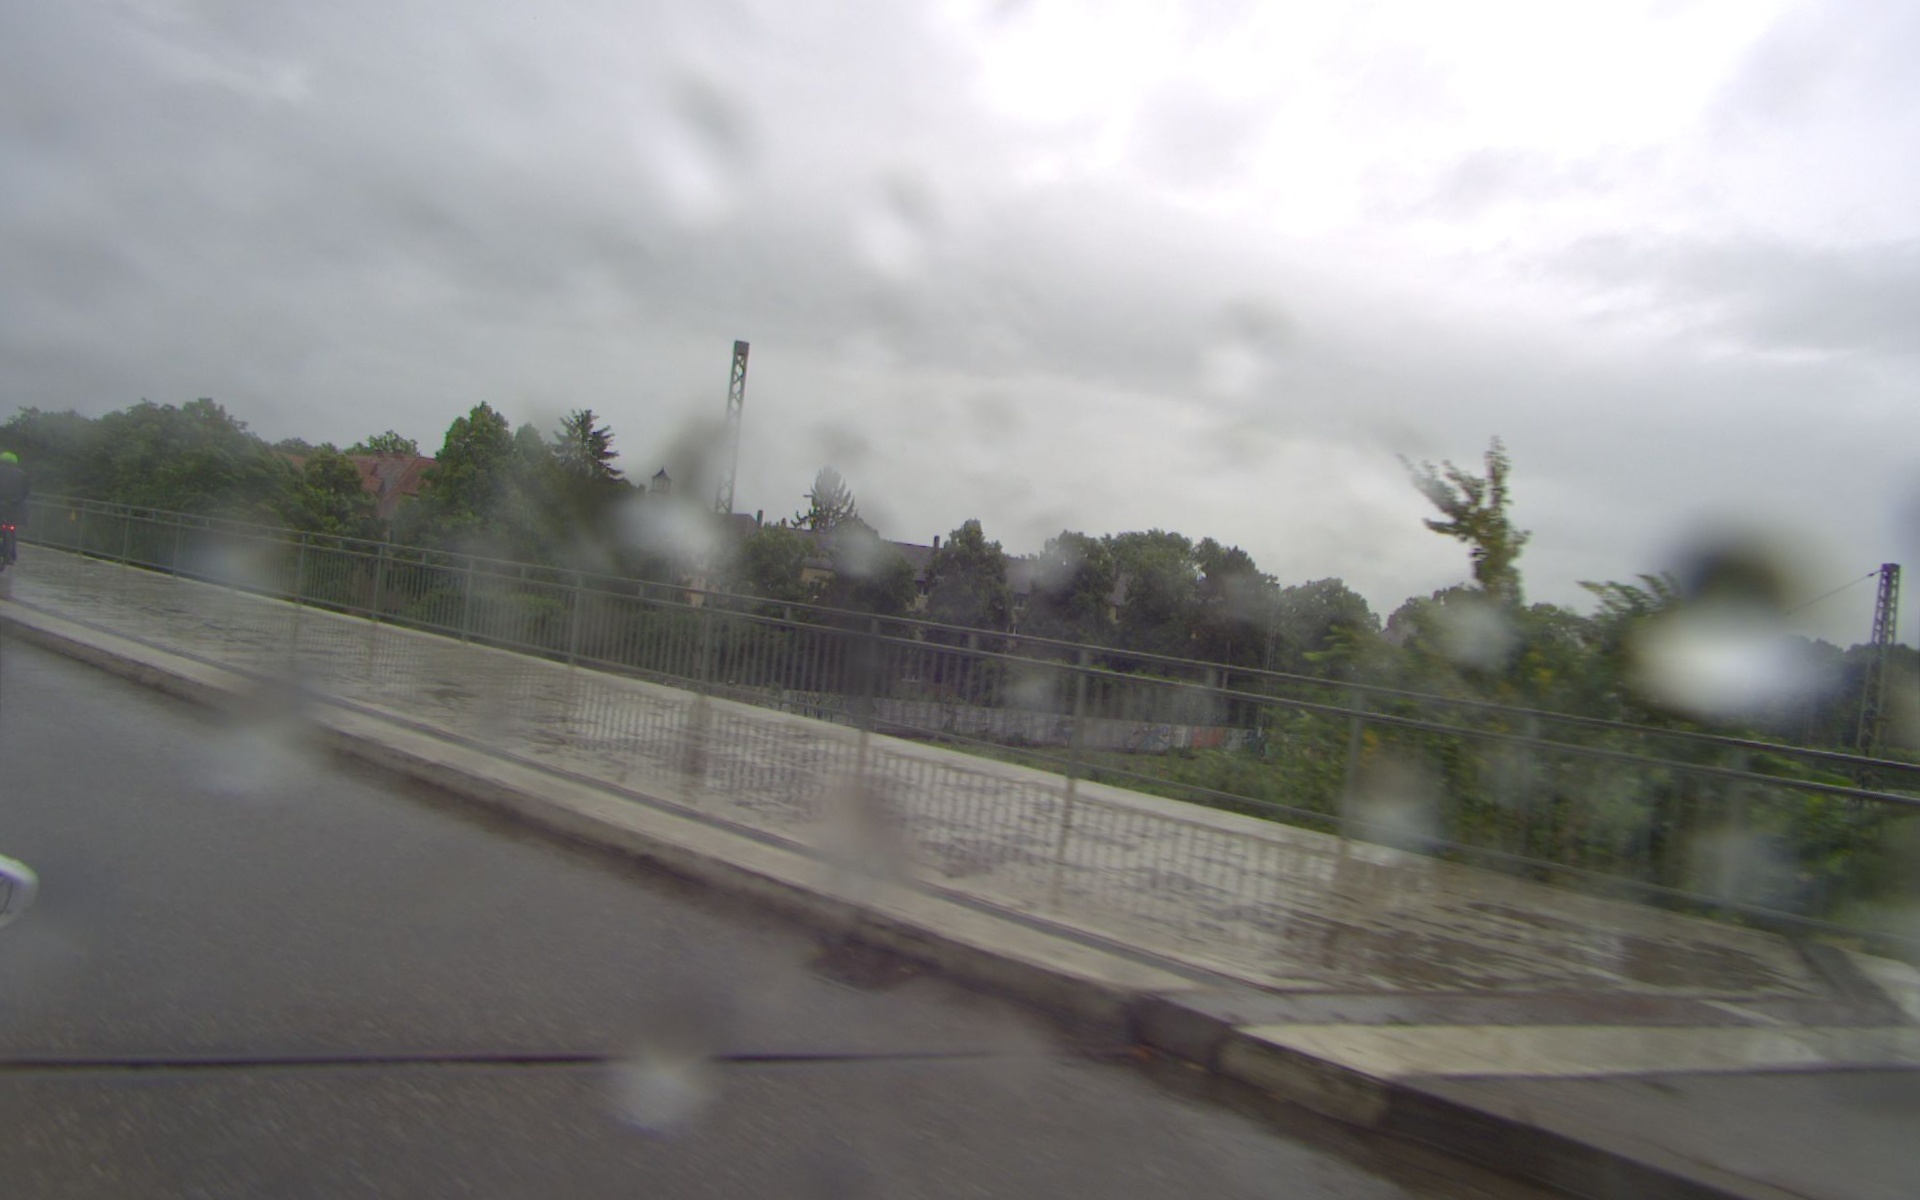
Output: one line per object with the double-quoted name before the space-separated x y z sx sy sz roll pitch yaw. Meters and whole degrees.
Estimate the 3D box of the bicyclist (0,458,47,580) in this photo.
"bicyclist" -14.888 -1.271 15.560 0.934 1.783 0.727 5 -2 32

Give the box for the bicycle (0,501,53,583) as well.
"bicycle" -14.954 -0.960 15.554 2.132 1.142 0.724 6 -2 32
